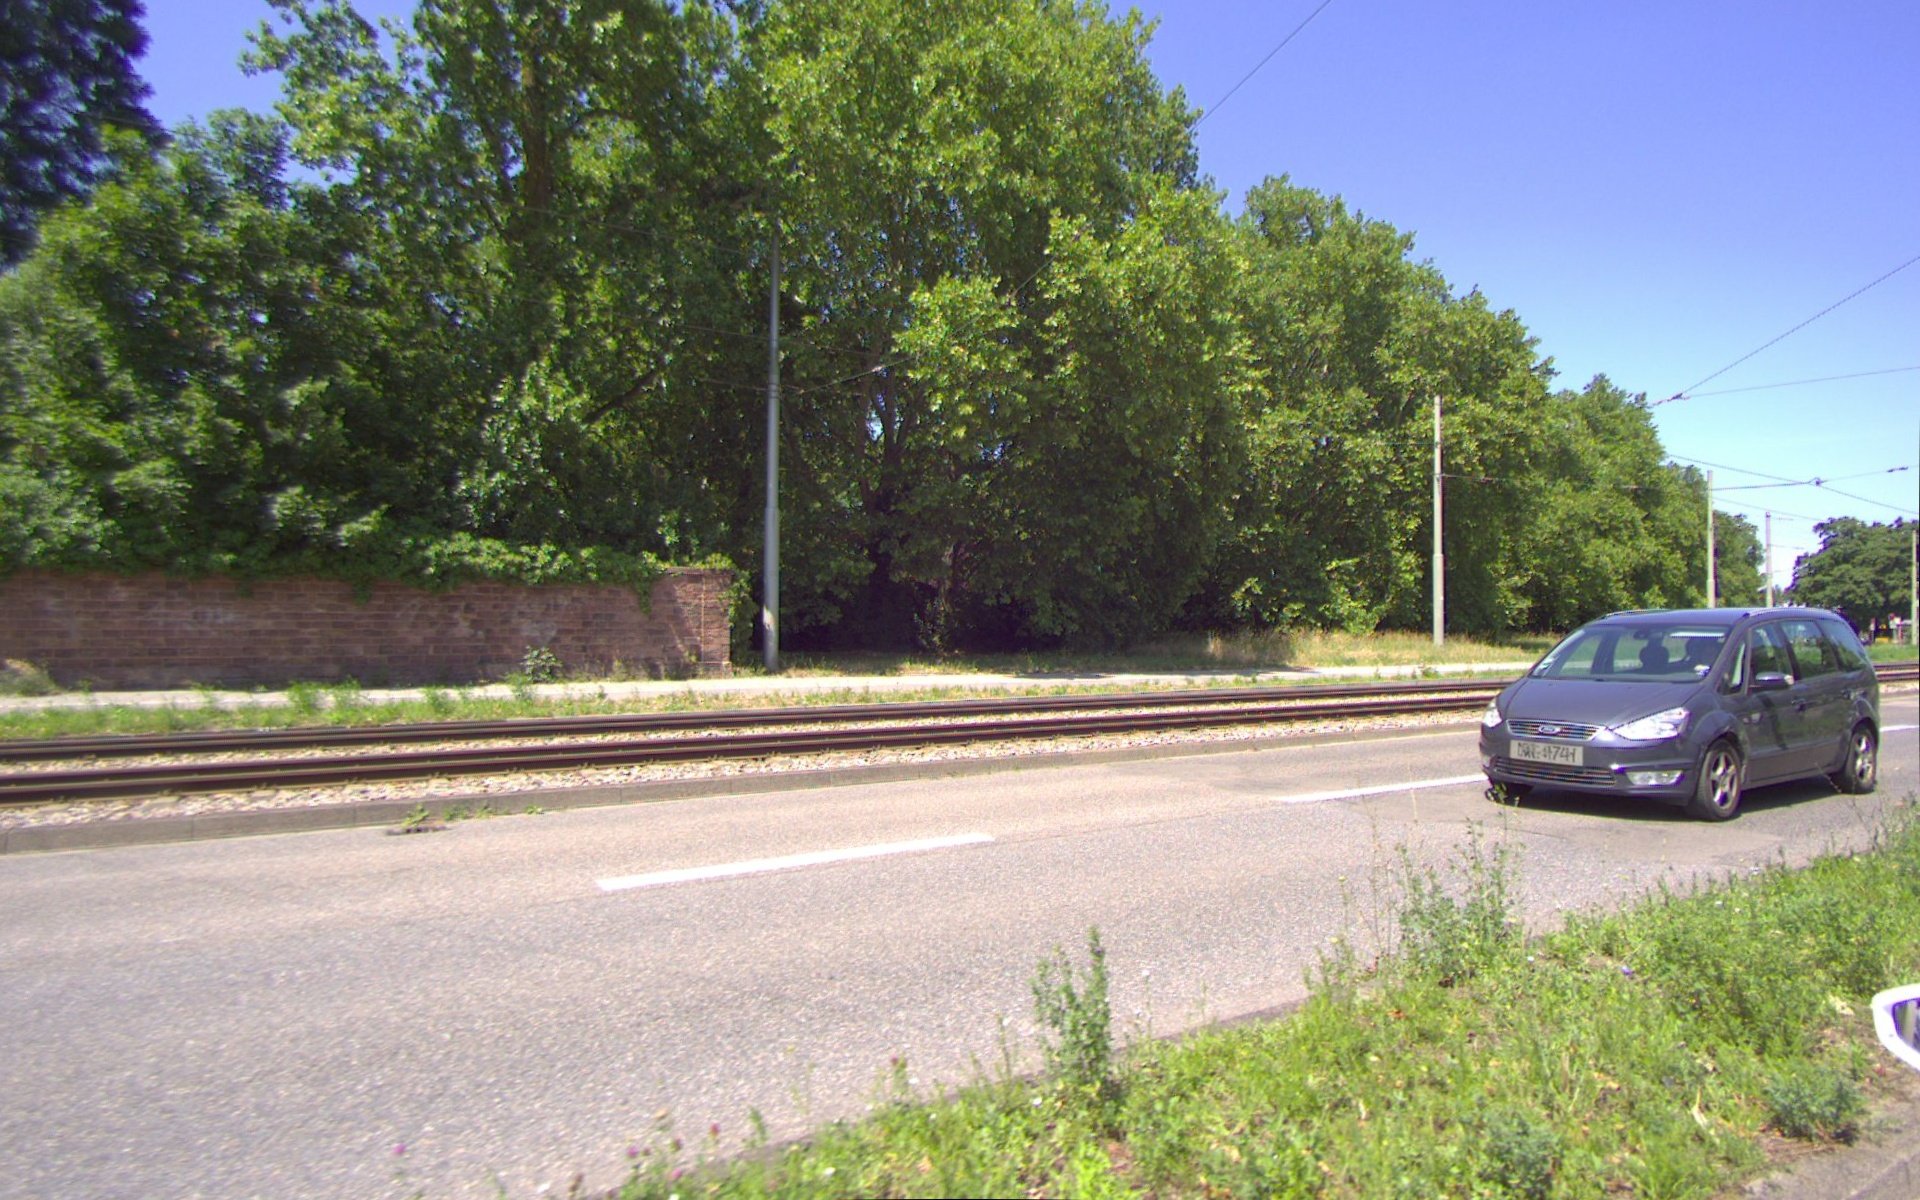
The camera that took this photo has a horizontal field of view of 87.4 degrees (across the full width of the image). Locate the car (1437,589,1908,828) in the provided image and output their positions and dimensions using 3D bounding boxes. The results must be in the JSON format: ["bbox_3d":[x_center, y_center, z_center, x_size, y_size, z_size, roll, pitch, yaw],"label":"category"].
[{"bbox_3d":[6.721,0.856,9.336,4.739,1.736,1.820,1,-3,-31],"label":"car"}]
